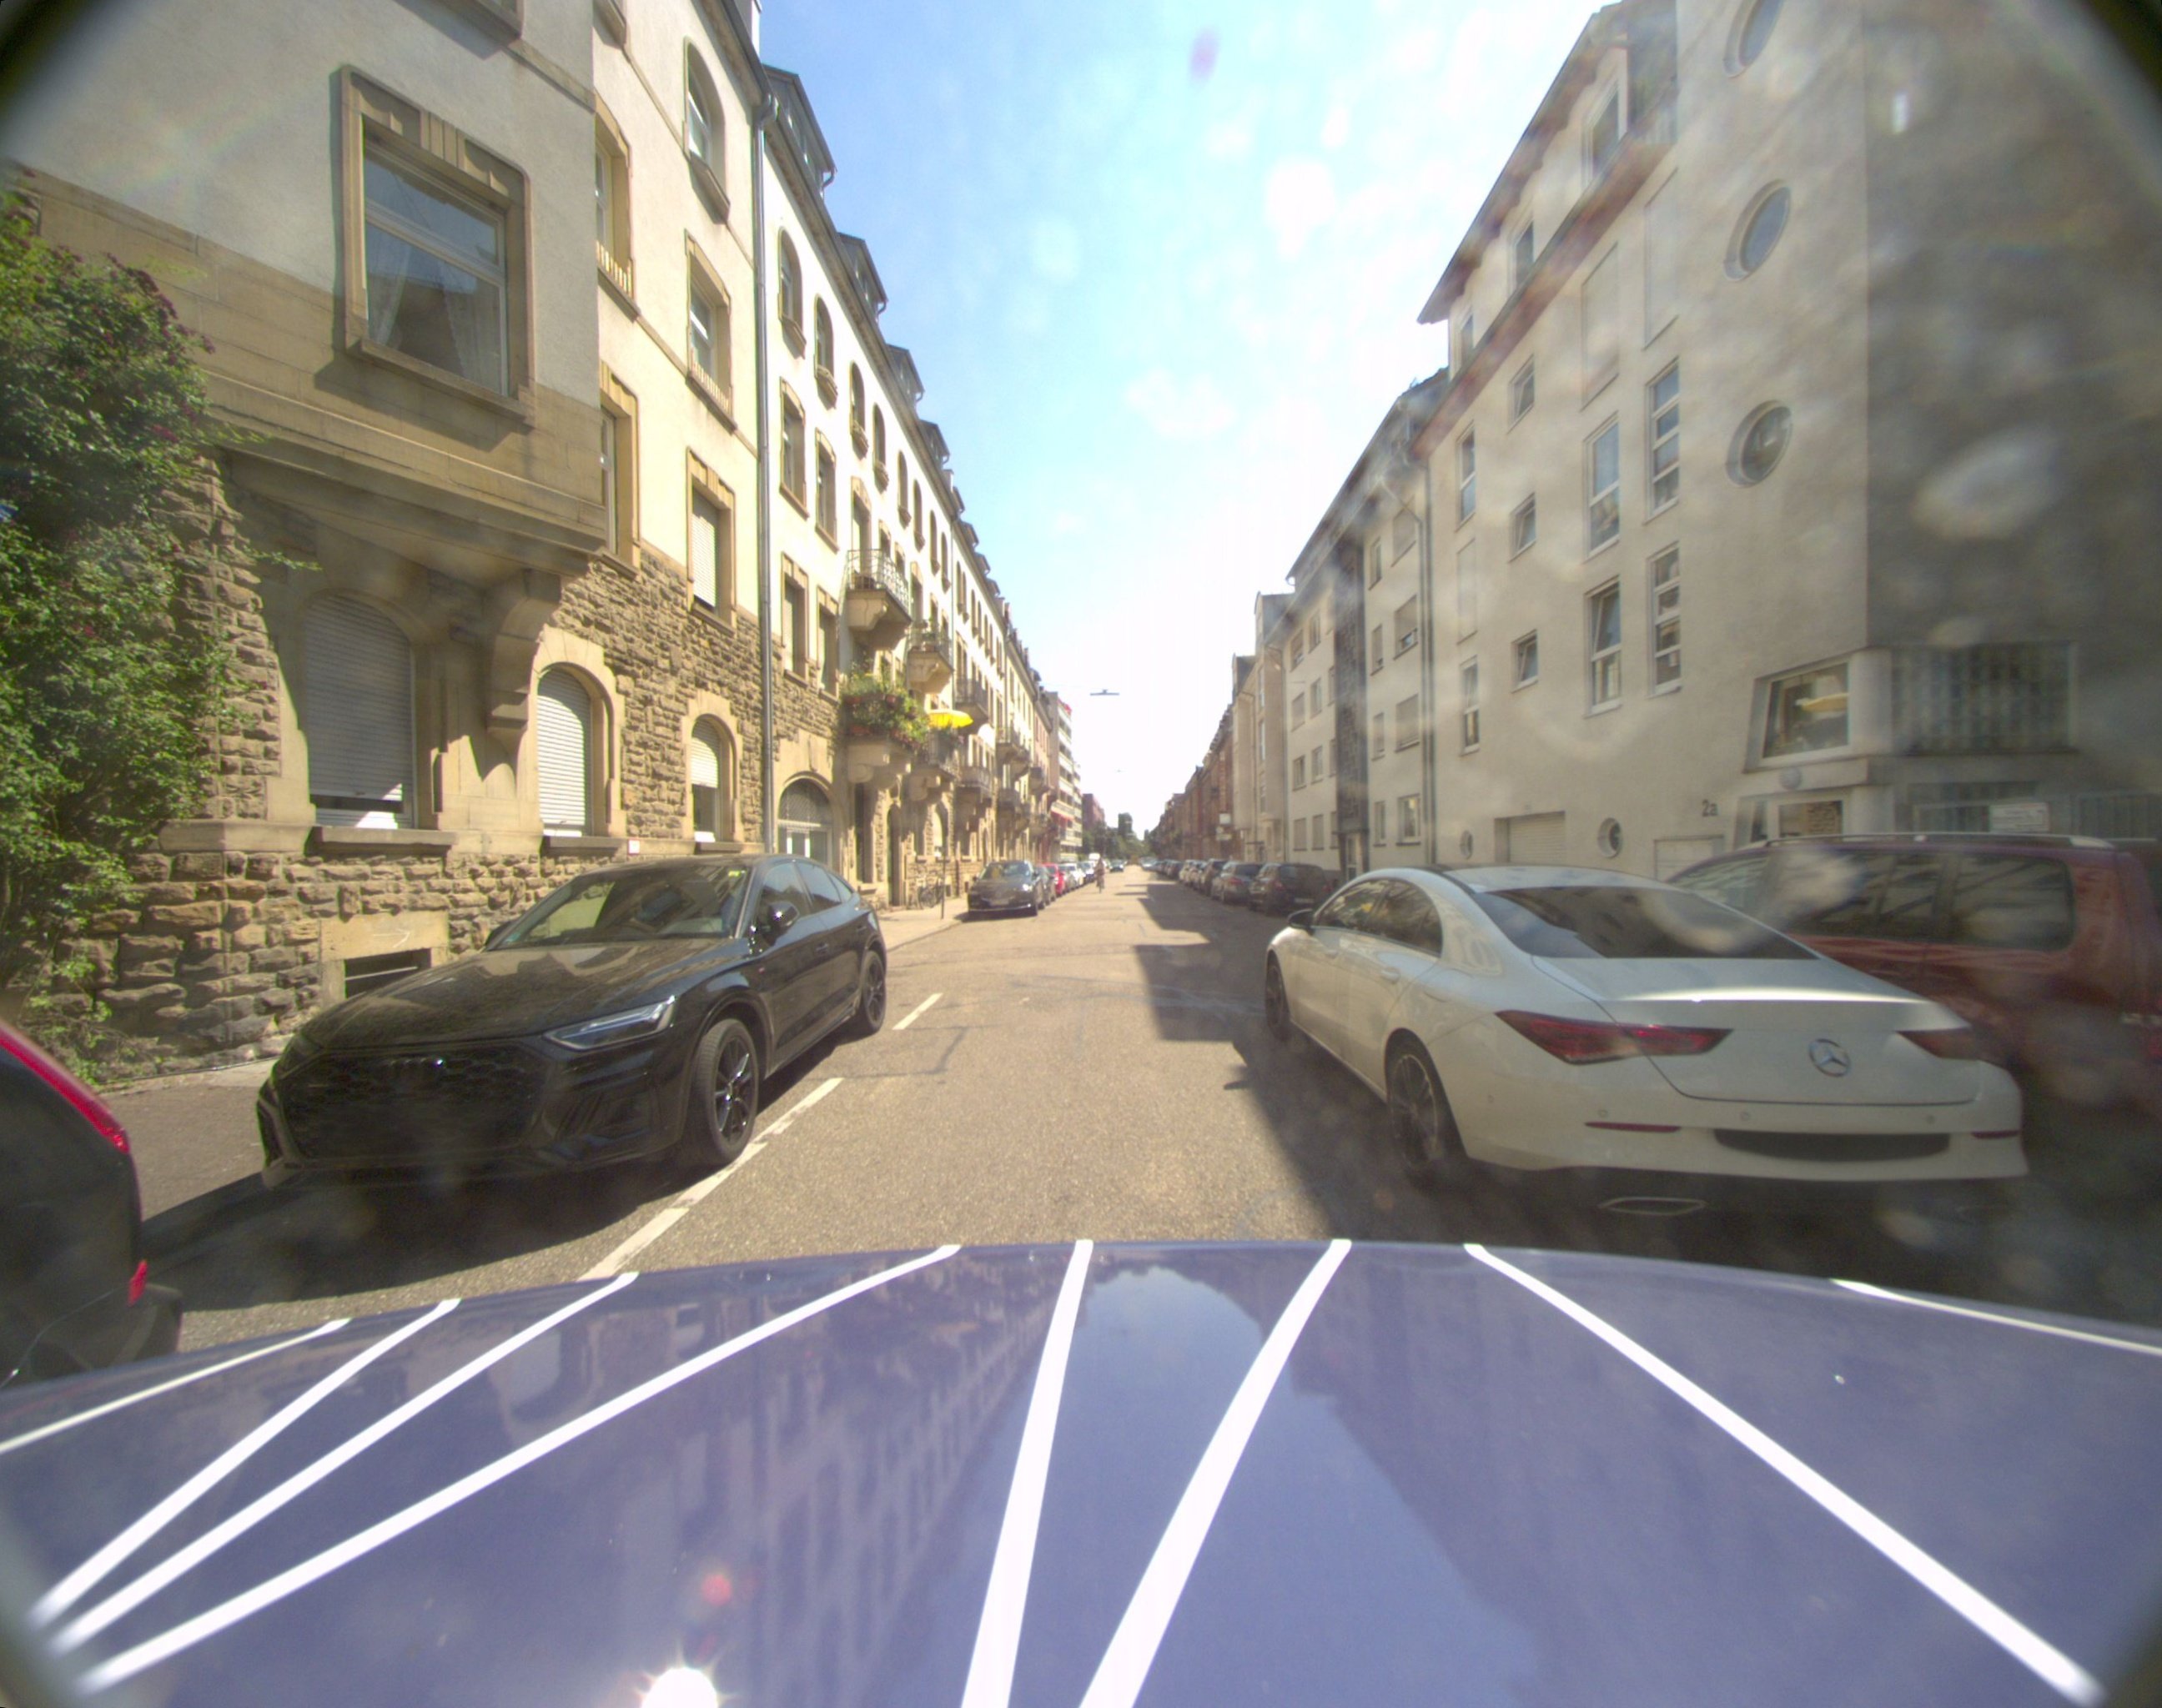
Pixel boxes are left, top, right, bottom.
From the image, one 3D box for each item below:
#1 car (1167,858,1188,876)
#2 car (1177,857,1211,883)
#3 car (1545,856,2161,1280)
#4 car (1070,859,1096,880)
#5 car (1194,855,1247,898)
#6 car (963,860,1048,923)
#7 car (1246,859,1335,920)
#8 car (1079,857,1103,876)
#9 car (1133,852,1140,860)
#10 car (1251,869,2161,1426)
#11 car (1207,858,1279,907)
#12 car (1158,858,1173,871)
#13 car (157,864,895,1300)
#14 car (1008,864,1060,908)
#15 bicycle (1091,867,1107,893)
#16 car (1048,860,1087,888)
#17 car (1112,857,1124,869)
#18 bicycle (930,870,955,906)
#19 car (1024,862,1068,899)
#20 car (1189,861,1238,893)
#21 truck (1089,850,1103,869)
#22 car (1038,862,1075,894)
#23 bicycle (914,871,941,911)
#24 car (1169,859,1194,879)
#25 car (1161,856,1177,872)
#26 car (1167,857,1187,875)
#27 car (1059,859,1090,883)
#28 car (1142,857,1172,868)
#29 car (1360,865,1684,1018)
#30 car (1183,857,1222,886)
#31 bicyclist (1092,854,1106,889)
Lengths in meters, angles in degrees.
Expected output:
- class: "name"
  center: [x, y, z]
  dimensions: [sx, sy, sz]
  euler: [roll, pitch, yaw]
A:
- class: "car"
  center: [8.535, 1.121, 67.426]
  dimensions: [1.632, 1.421, 3.679]
  euler: [4, 0, 5]
- class: "car"
  center: [7.610, 1.064, 51.438]
  dimensions: [1.632, 1.540, 3.853]
  euler: [3, 0, 0]
- class: "car"
  center: [4.967, 0.837, 4.726]
  dimensions: [1.676, 1.573, 4.053]
  euler: [2, 0, 1]
- class: "car"
  center: [0.168, 1.097, 56.086]
  dimensions: [1.828, 1.423, 4.490]
  euler: [-1, 0, 1]
- class: "car"
  center: [5.903, 0.911, 32.529]
  dimensions: [1.607, 1.634, 3.977]
  euler: [2, 0, 2]
- class: "car"
  center: [-2.103, 1.019, 22.426]
  dimensions: [1.837, 1.558, 4.605]
  euler: [-3, 0, 2]
- class: "car"
  center: [5.816, 0.932, 21.517]
  dimensions: [1.571, 1.483, 3.894]
  euler: [2, 0, 2]
- class: "car"
  center: [0.877, 1.088, 66.749]
  dimensions: [1.651, 1.613, 4.094]
  euler: [0, 0, 8]
- class: "car"
  center: [14.787, 0.476, 202.037]
  dimensions: [1.784, 2.002, 4.002]
  euler: [-1, 0, 6]
- class: "car"
  center: [2.336, 0.892, 4.393]
  dimensions: [1.845, 1.452, 4.363]
  euler: [2, 0, 2]
- class: "car"
  center: [5.634, 0.939, 26.943]
  dimensions: [1.660, 1.510, 4.672]
  euler: [2, 0, 2]
- class: "car"
  center: [9.759, 1.182, 87.746]
  dimensions: [1.449, 1.391, 3.527]
  euler: [4, 0, 4]
- class: "car"
  center: [-2.720, 0.934, 5.175]
  dimensions: [1.740, 1.587, 4.348]
  euler: [-3, 0, 0]
- class: "car"
  center: [-1.669, 1.126, 28.037]
  dimensions: [1.516, 1.390, 3.972]
  euler: [-3, 0, 1]
- class: "bicycle"
  center: [0.874, 1.195, 35.787]
  dimensions: [0.671, 1.169, 2.095]
  euler: [0, 0, 4]
- class: "car"
  center: [-0.762, 1.137, 44.616]
  dimensions: [1.720, 1.444, 4.599]
  euler: [-3, 0, 5]
- class: "car"
  center: [4.844, 1.149, 99.655]
  dimensions: [1.624, 1.600, 3.598]
  euler: [0, 0, 3]
- class: "bicycle"
  center: [-4.895, 1.183, 26.903]
  dimensions: [0.442, 1.201, 1.775]
  euler: [0, 0, 4]
- class: "car"
  center: [-1.525, 1.147, 34.297]
  dimensions: [1.574, 1.444, 3.843]
  euler: [-3, 0, 3]
- class: "car"
  center: [6.516, 1.084, 37.762]
  dimensions: [1.769, 1.385, 4.349]
  euler: [2, 0, 2]
- class: "truck"
  center: [2.195, 0.822, 112.935]
  dimensions: [1.869, 2.715, 4.509]
  euler: [0, 0, 4]
- class: "car"
  center: [-1.219, 1.200, 39.345]
  dimensions: [1.593, 1.444, 3.857]
  euler: [-3, 0, 3]
- class: "bicycle"
  center: [-4.932, 1.166, 24.486]
  dimensions: [0.385, 1.201, 1.775]
  euler: [0, 0, 4]
- class: "car"
  center: [8.196, 1.178, 62.095]
  dimensions: [1.781, 1.421, 3.838]
  euler: [4, 0, 5]
- class: "car"
  center: [9.553, 1.071, 82.812]
  dimensions: [1.449, 1.633, 3.526]
  euler: [4, 0, 3]
- class: "car"
  center: [9.080, 1.097, 72.273]
  dimensions: [1.450, 1.534, 3.526]
  euler: [3, 0, 1]
- class: "car"
  center: [-0.392, 1.102, 50.147]
  dimensions: [1.740, 1.449, 4.669]
  euler: [0, 0, 3]
- class: "car"
  center: [10.416, 1.160, 104.529]
  dimensions: [3.995, 1.422, 1.678]
  euler: [0, 0, 4]
- class: "car"
  center: [5.352, 0.942, 10.011]
  dimensions: [1.781, 1.451, 4.279]
  euler: [2, 0, 1]
- class: "car"
  center: [7.054, 0.985, 44.436]
  dimensions: [1.734, 1.486, 4.349]
  euler: [2, 0, 2]
- class: "bicyclist"
  center: [0.866, 0.810, 35.887]
  dimensions: [0.644, 1.640, 0.622]
  euler: [0, 1, 4]
